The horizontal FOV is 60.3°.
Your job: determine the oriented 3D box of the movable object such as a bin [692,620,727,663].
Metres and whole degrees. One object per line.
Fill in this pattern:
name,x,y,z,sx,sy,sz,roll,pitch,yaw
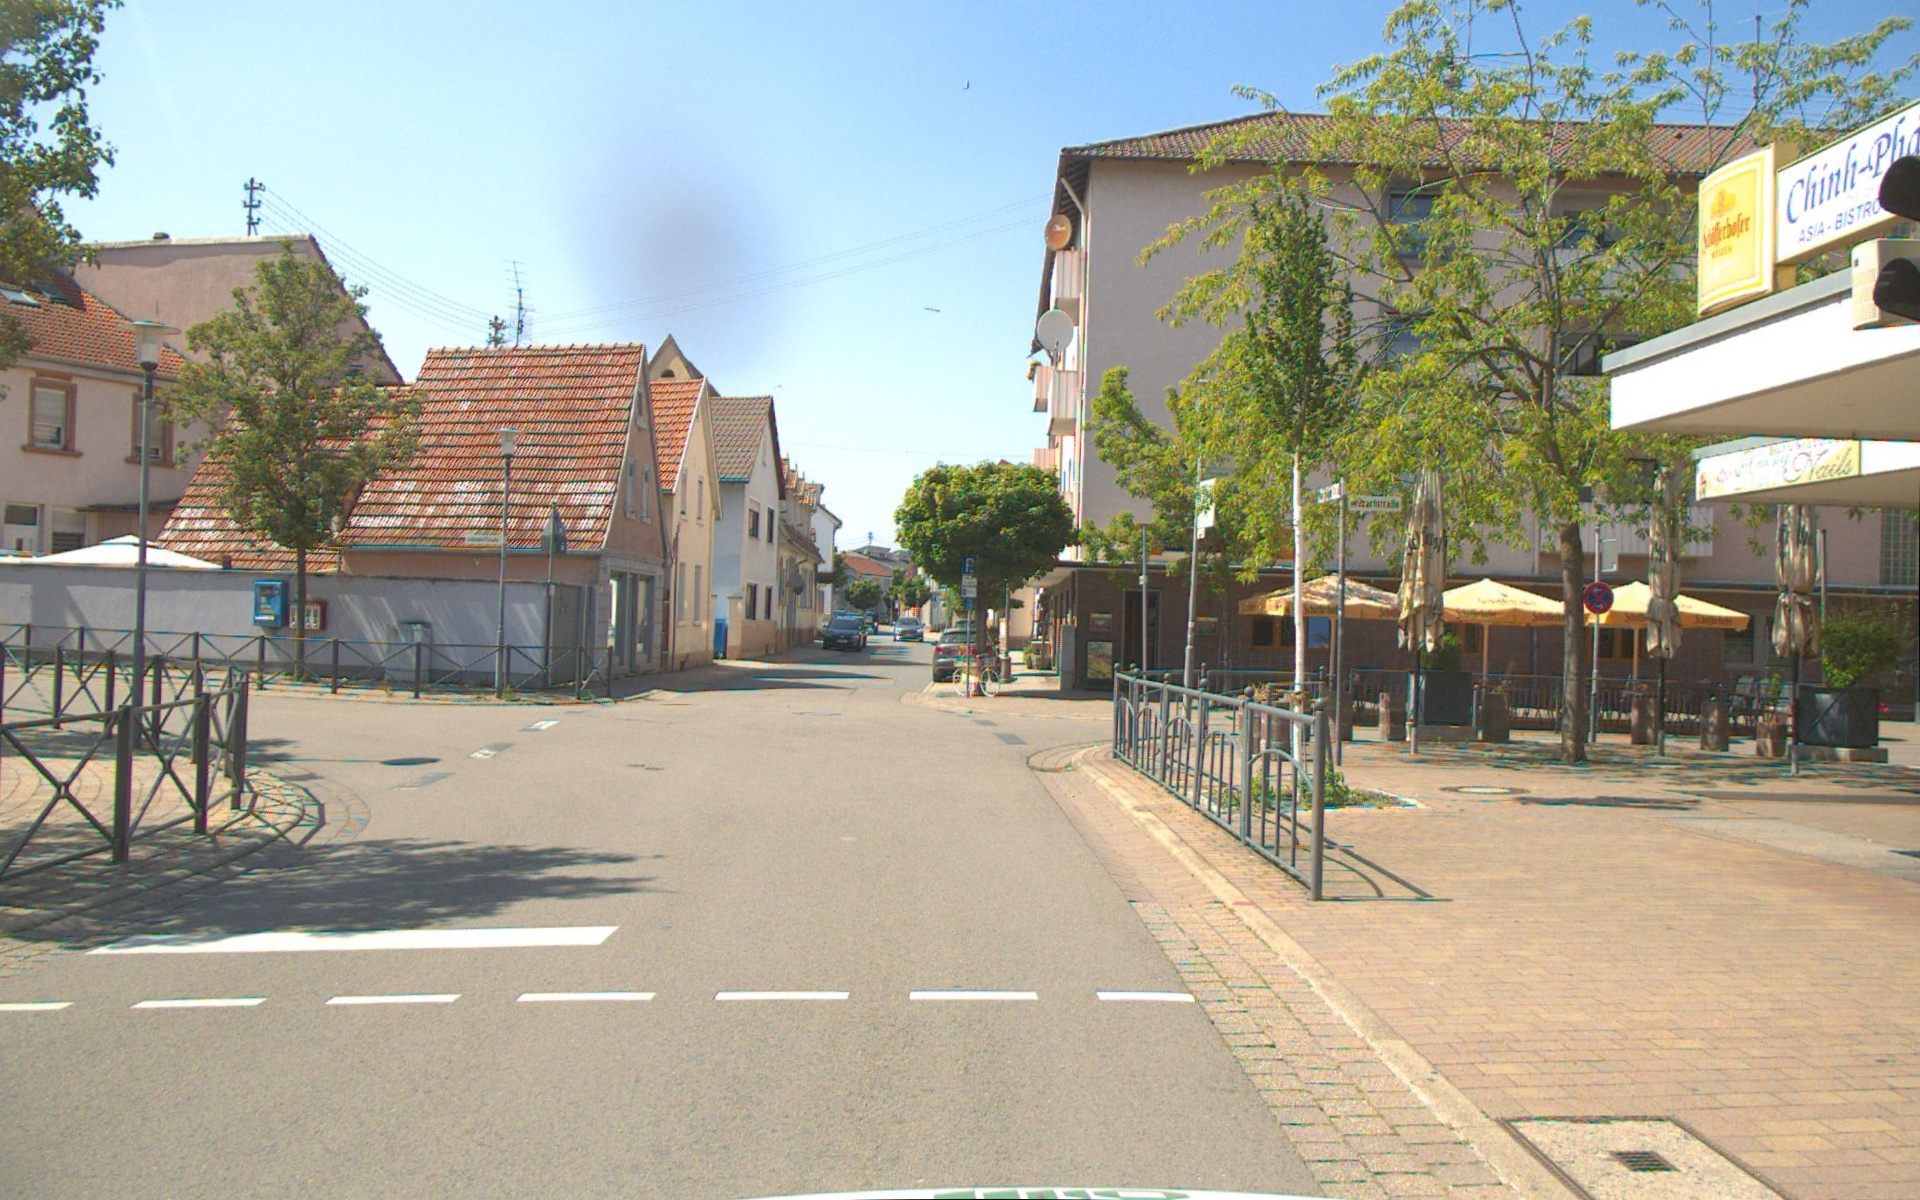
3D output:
movable object such as a bin,-8.305,1.365,54.820,1.078,1.389,0.390,1,-1,4

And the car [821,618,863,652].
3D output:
car,-5.398,1.606,76.228,1.629,1.502,4.134,1,-1,0

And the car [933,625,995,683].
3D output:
car,0.143,1.453,45.205,1.543,1.479,3.486,1,-1,2

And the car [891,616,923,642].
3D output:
car,-3.223,1.792,100.983,1.870,1.507,4.842,1,-2,-2

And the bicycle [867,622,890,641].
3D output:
bicycle,-6.200,2.398,125.718,1.592,1.395,3.921,1,-1,-6

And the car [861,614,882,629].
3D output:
car,-9.869,2.367,184.863,1.985,1.626,4.510,1,-1,2

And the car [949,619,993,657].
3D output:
car,0.518,1.788,79.069,2.001,1.718,4.841,1,-1,0

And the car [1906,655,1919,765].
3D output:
car,14.524,1.542,21.655,1.732,1.536,3.966,2,-2,-6

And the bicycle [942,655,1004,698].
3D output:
bicycle,0.281,1.688,36.573,1.386,0.913,0.463,-1,-1,37

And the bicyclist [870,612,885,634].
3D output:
bicyclist,-6.266,1.733,125.608,1.026,1.666,1.127,1,-1,-6
